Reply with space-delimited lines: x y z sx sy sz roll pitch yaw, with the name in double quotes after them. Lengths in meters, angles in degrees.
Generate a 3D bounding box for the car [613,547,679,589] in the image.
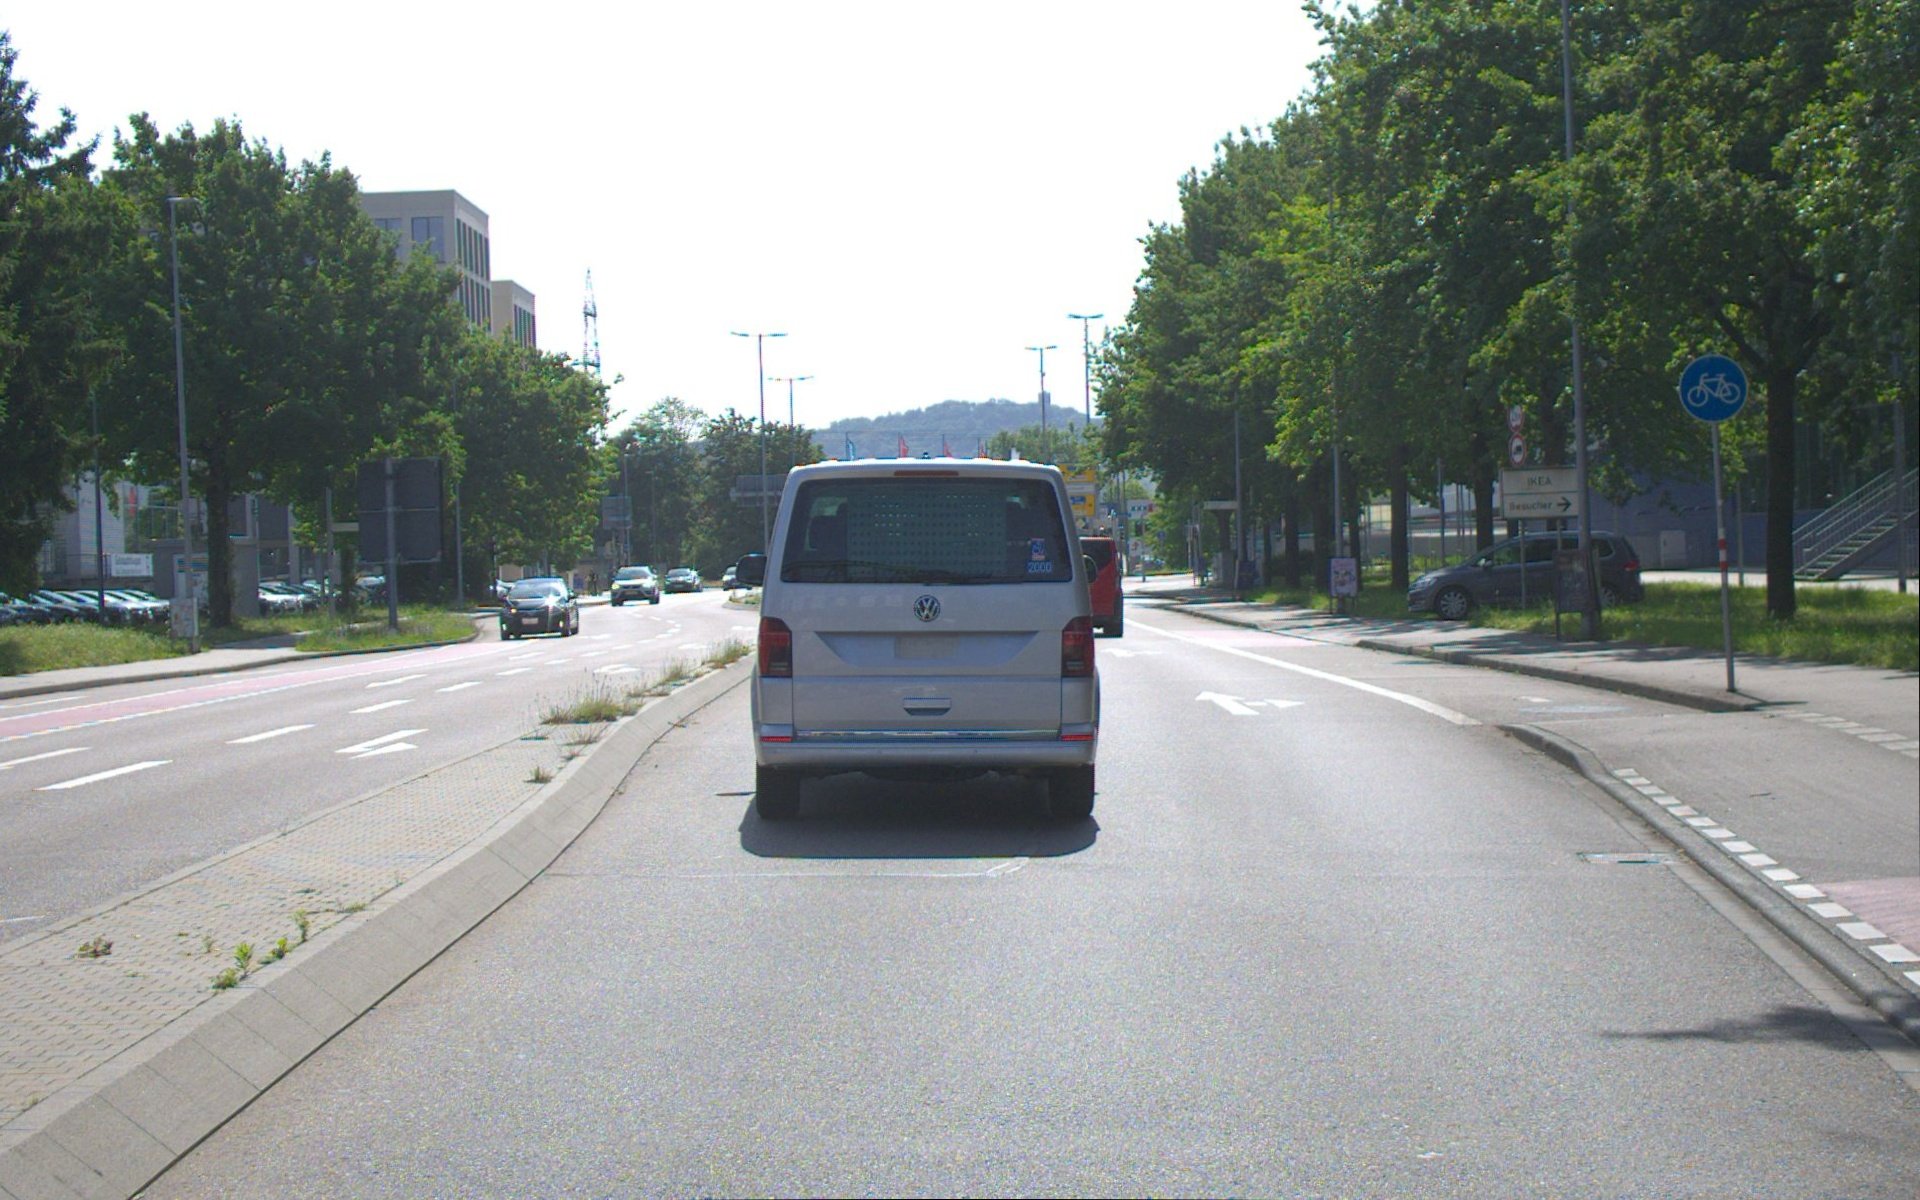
-12.797 -1.315 140.415 1.994 1.612 4.104 -3 1 3 "car"

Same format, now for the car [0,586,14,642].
-25.080 0.461 83.115 3.887 1.336 1.840 -3 1 -2 "car"

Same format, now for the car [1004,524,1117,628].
1.947 -0.498 68.138 1.967 1.961 5.126 0 1 -1 "car"

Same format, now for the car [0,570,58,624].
-25.180 -0.005 87.872 3.679 1.281 1.986 -3 1 -2 "car"

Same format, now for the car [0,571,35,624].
-25.043 0.026 85.443 3.593 1.281 1.865 -3 1 -2 "car"

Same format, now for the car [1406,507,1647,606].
10.923 -0.844 66.512 4.445 1.688 1.844 -3 1 7 "car"

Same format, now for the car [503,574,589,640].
-10.657 0.161 88.706 1.698 1.513 4.027 -3 1 -1 "car"

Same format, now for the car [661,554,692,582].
-17.851 -2.002 216.604 1.738 1.613 4.210 -4 1 -3 "car"

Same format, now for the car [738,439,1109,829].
-0.207 0.143 19.528 1.884 1.983 4.000 0 1 -1 "car"
